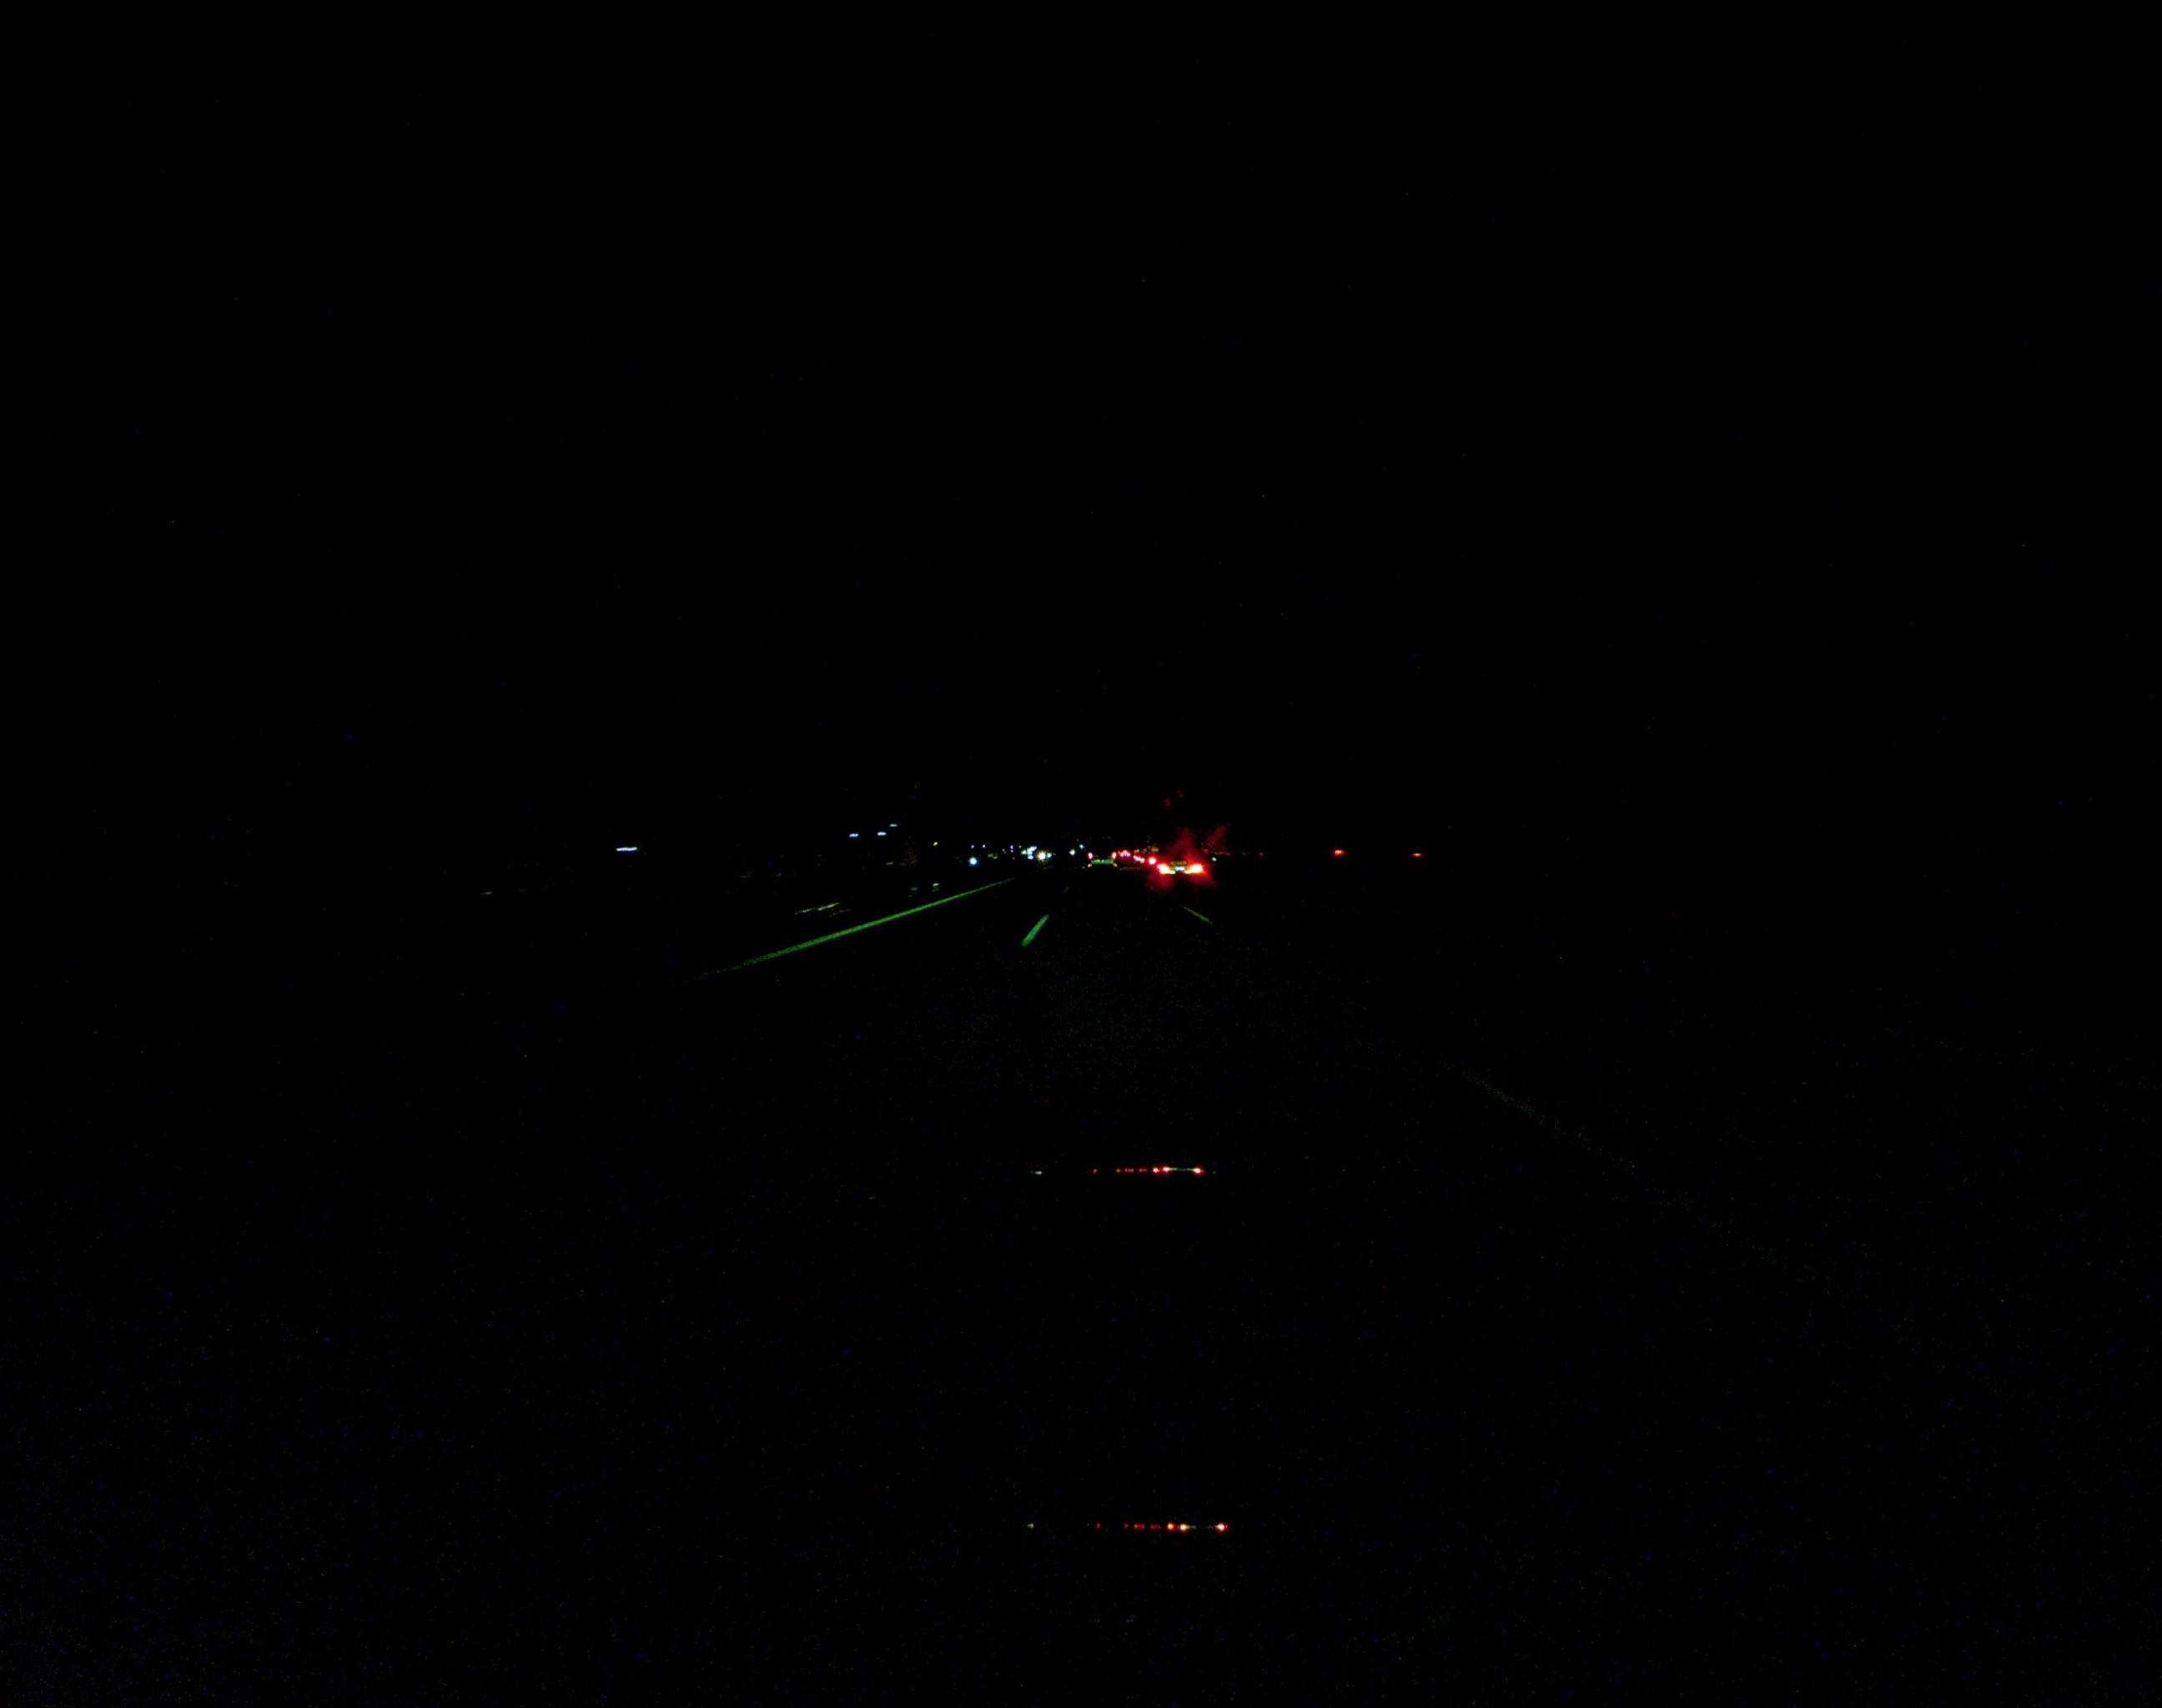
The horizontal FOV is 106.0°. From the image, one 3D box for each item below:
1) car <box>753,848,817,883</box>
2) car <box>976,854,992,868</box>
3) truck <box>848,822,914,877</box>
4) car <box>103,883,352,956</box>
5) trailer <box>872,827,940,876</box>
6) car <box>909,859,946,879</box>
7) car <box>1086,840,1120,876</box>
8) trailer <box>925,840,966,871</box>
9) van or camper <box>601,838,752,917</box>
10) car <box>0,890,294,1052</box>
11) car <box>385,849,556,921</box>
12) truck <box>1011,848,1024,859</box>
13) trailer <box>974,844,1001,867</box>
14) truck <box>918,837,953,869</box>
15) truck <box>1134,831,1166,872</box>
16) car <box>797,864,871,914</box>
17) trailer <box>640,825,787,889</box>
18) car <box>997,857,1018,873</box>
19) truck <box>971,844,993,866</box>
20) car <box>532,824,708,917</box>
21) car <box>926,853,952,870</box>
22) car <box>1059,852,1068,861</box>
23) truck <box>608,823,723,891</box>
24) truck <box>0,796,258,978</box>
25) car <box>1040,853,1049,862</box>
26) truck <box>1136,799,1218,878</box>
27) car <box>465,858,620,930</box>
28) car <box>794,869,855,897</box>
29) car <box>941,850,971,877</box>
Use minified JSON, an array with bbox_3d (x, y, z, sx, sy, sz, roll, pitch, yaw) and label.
[{"bbox_3d":[-17.998,0.725,49.807,1.987,2.014,5.242,0,-1,0],"label":"car"},{"bbox_3d":[-13.961,0.977,117.148,1.989,2.013,3.995,-1,0,-3],"label":"car"},{"bbox_3d":[-13.989,-0.226,57.494,2.864,3.674,6.779,0,-1,0],"label":"truck"},{"bbox_3d":[-22.236,1.639,21.534,1.987,1.646,4.312,0,-1,0],"label":"car"},{"bbox_3d":[-14.033,-0.090,66.553,2.876,3.671,12.214,0,-1,0],"label":"trailer"},{"bbox_3d":[-10.663,1.028,56.698,1.989,1.359,3.995,0,-1,-3],"label":"car"},{"bbox_3d":[1.742,0.280,63.165,2.326,2.640,5.253,-1,0,4],"label":"car"},{"bbox_3d":[-17.071,0.312,103.561,2.875,3.671,13.049,0,-1,1],"label":"trailer"},{"bbox_3d":[-15.358,0.823,31.661,2.078,2.632,7.601,-2,0,-1],"label":"van or camper"},{"bbox_3d":[-15.036,1.609,12.503,1.987,2.014,3.999,0,-1,0],"label":"car"},{"bbox_3d":[-18.548,0.913,25.046,1.987,2.014,4.312,0,-1,0],"label":"car"},{"bbox_3d":[-19.123,-0.169,244.166,3.157,3.222,7.450,0,-1,1],"label":"truck"},{"bbox_3d":[-16.683,0.378,146.463,2.875,3.849,15.070,0,-1,1],"label":"trailer"},{"bbox_3d":[-17.249,-0.100,96.637,2.864,3.673,6.052,-1,0,1],"label":"truck"},{"bbox_3d":[8.065,-0.277,96.852,3.330,4.476,13.922,-1,0,3],"label":"truck"},{"bbox_3d":[-10.630,1.477,35.297,1.987,2.014,3.999,0,-1,0],"label":"car"},{"bbox_3d":[-22.595,0.169,51.433,2.949,3.442,13.438,-1,0,1],"label":"trailer"},{"bbox_3d":[-9.367,1.432,103.579,1.986,2.014,5.327,0,-1,2],"label":"car"},{"bbox_3d":[-16.847,0.264,138.610,2.850,3.687,6.603,0,-1,1],"label":"truck"},{"bbox_3d":[-11.009,0.391,19.829,1.987,2.014,3.999,0,-1,0],"label":"car"},{"bbox_3d":[-13.876,0.752,79.672,1.989,1.686,4.501,0,-1,-3],"label":"car"},{"bbox_3d":[-4.101,0.606,188.165,1.989,2.014,3.995,0,-1,-3],"label":"car"},{"bbox_3d":[-22.709,0.154,44.948,2.949,3.442,6.362,-1,0,1],"label":"truck"},{"bbox_3d":[-19.158,0.597,13.801,2.753,2.986,7.403,-2,-1,1],"label":"truck"},{"bbox_3d":[-8.157,0.784,183.316,1.989,2.014,3.995,0,-1,-3],"label":"car"},{"bbox_3d":[6.359,-0.898,58.550,3.901,4.627,21.023,-1,0,1],"label":"truck"},{"bbox_3d":[-22.528,1.539,34.519,2.306,2.718,6.357,0,0,0],"label":"car"},{"bbox_3d":[-14.067,1.552,44.970,1.723,1.486,4.648,0,-1,2],"label":"car"},{"bbox_3d":[-9.824,0.765,64.169,1.989,2.014,3.995,0,-1,-3],"label":"car"}]
